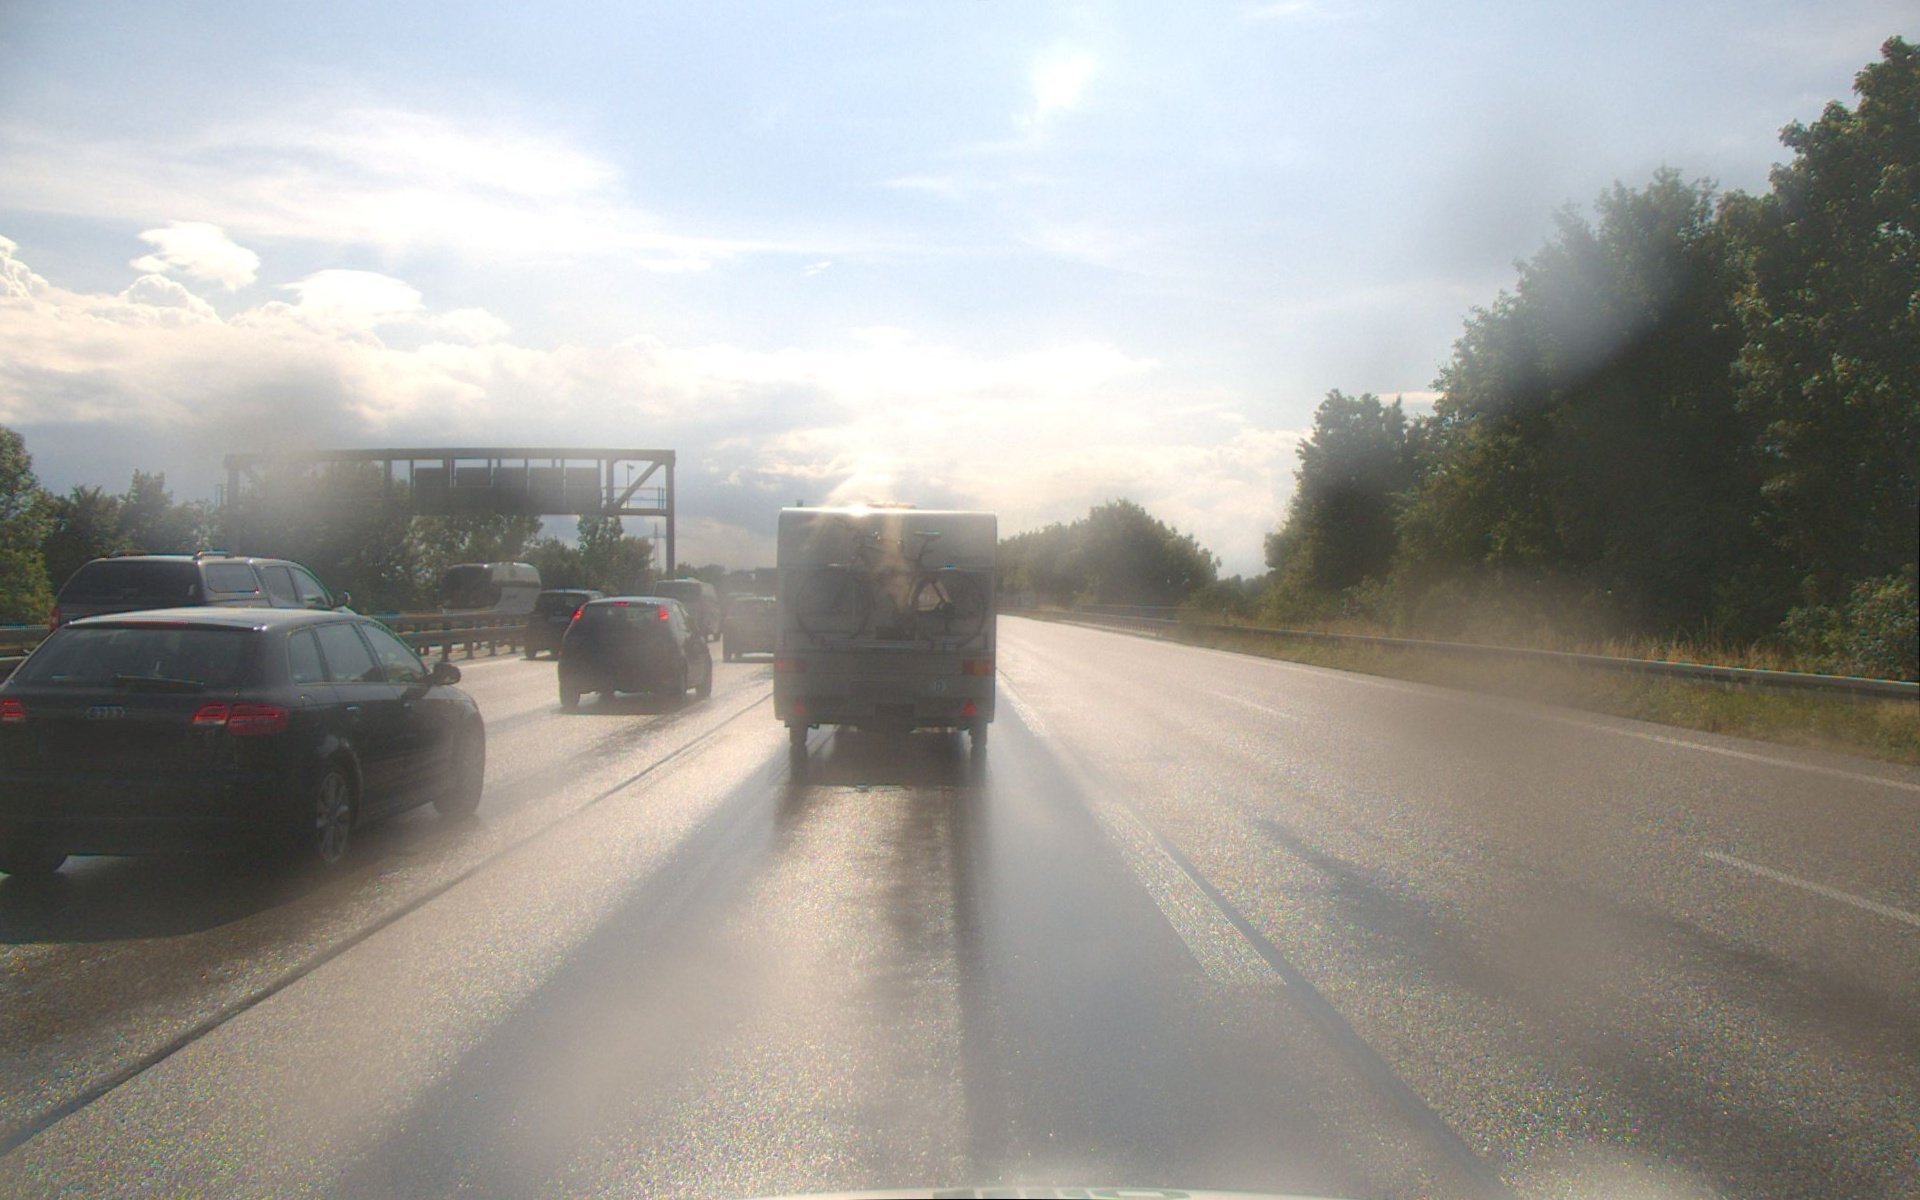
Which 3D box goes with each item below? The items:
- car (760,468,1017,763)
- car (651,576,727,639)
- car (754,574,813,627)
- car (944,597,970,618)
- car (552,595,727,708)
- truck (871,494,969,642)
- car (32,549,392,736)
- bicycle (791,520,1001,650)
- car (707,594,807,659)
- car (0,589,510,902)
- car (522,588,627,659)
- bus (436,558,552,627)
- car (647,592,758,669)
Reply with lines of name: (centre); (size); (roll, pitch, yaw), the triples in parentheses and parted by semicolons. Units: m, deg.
car: (-0.676, 0.156, 17.461); (2.361, 2.721, 4.000); (1, 0, 0)
car: (-8.961, 0.235, 55.134); (1.810, 1.967, 5.014); (1, 0, -2)
car: (-5.894, 0.021, 55.453); (1.654, 1.691, 3.639); (0, 0, -1)
car: (-0.262, 0.590, 133.015); (1.799, 1.585, 3.996); (1, 0, -5)
car: (-4.486, 0.669, 23.693); (1.722, 1.468, 4.000); (1, 0, 0)
truck: (-1.456, -1.018, 58.366); (3.083, 4.707, 10.731); (0, 0, -2)
car: (-8.513, 0.420, 19.476); (1.769, 1.876, 5.417); (1, 0, 0)
bicycle: (-0.579, -0.135, 15.267); (1.894, 1.161, 0.384); (1, -1, 0)
car: (-4.890, 0.617, 40.298); (1.947, 1.483, 3.826); (1, 0, 0)
car: (-4.072, 0.678, 9.810); (1.714, 1.458, 4.053); (1, 0, -1)
car: (-9.251, 0.530, 39.954); (1.747, 1.606, 3.914); (1, 0, -2)
bus: (-24.945, -0.371, 89.305); (2.832, 3.433, 12.468); (0, 0, -1)
car: (-5.375, 0.608, 34.923); (1.825, 1.534, 3.998); (0, 0, -2)
